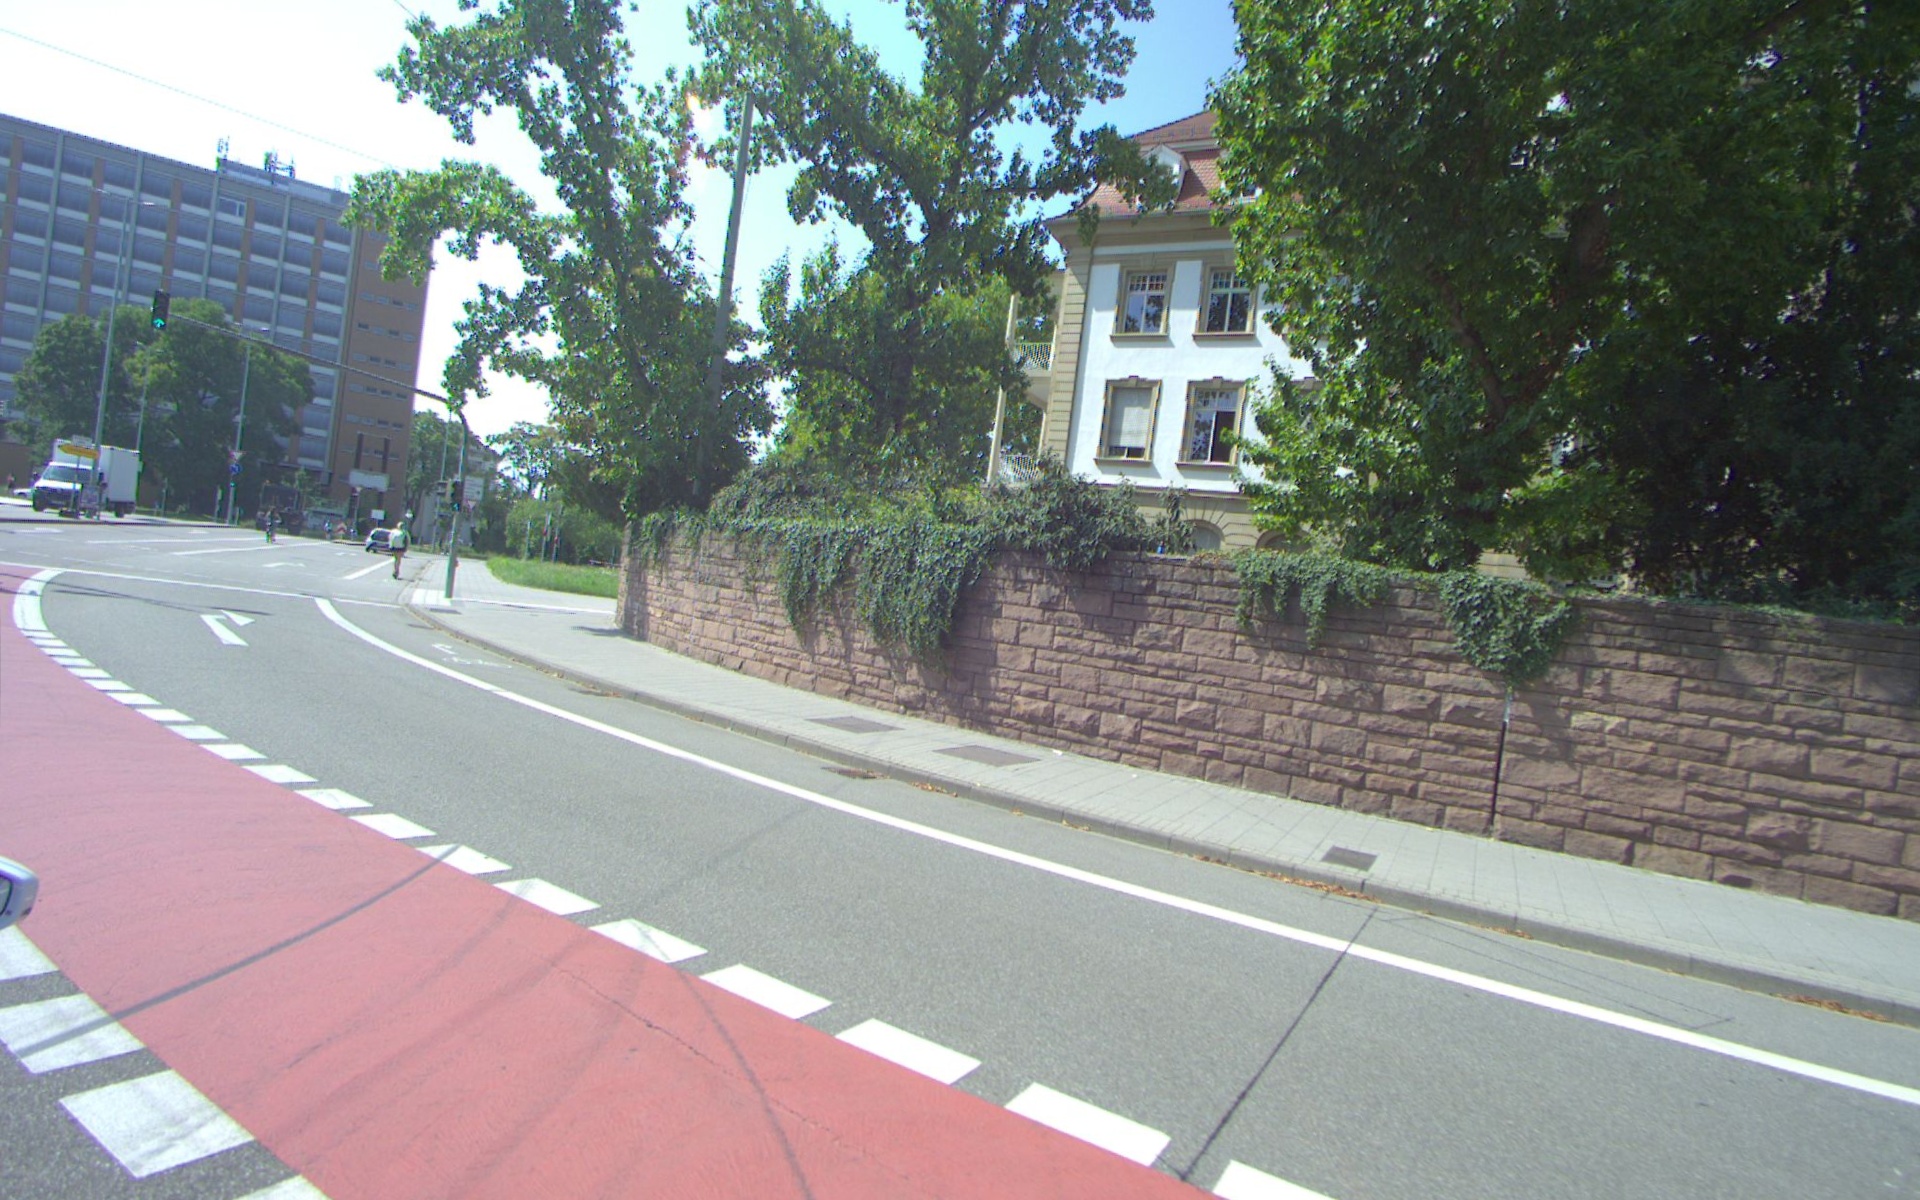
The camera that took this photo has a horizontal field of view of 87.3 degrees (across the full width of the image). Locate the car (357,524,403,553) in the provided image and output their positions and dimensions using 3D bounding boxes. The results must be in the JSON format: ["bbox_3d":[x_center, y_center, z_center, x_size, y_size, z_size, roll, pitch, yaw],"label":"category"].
[{"bbox_3d":[-34.182,-3.583,59.363,1.825,1.408,3.975,7,0,-25],"label":"car"}]

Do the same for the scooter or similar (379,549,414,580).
[{"bbox_3d":[-19.265,-1.221,34.436,0.765,0.938,1.611,8,0,-23],"label":"scooter or similar"}]

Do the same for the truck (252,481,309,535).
[{"bbox_3d":[-45.545,-6.102,67.584,2.679,3.025,5.915,8,-1,-32],"label":"truck"}]

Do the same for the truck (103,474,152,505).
[{"bbox_3d":[-51.800,-6.862,62.648,1.542,1.522,3.594,7,0,-28],"label":"truck"}]

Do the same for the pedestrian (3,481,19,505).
[{"bbox_3d":[-65.858,-7.415,69.802,0.409,1.572,0.531,7,1,17],"label":"pedestrian"}]

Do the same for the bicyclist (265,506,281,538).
[{"bbox_3d":[-32.298,-3.651,47.312,0.446,1.439,0.492,6,1,-29],"label":"bicyclist"}]

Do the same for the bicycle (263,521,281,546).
[{"bbox_3d":[-32.321,-3.115,47.254,0.440,1.130,1.435,6,1,-28],"label":"bicycle"}]

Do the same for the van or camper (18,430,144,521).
[{"bbox_3d":[-40.267,-5.563,46.325,2.379,3.347,7.141,7,0,-27],"label":"van or camper"}]

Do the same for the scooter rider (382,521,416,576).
[{"bbox_3d":[-19.278,-1.760,34.582,0.754,1.797,0.552,7,1,-23],"label":"scooter rider"}]
